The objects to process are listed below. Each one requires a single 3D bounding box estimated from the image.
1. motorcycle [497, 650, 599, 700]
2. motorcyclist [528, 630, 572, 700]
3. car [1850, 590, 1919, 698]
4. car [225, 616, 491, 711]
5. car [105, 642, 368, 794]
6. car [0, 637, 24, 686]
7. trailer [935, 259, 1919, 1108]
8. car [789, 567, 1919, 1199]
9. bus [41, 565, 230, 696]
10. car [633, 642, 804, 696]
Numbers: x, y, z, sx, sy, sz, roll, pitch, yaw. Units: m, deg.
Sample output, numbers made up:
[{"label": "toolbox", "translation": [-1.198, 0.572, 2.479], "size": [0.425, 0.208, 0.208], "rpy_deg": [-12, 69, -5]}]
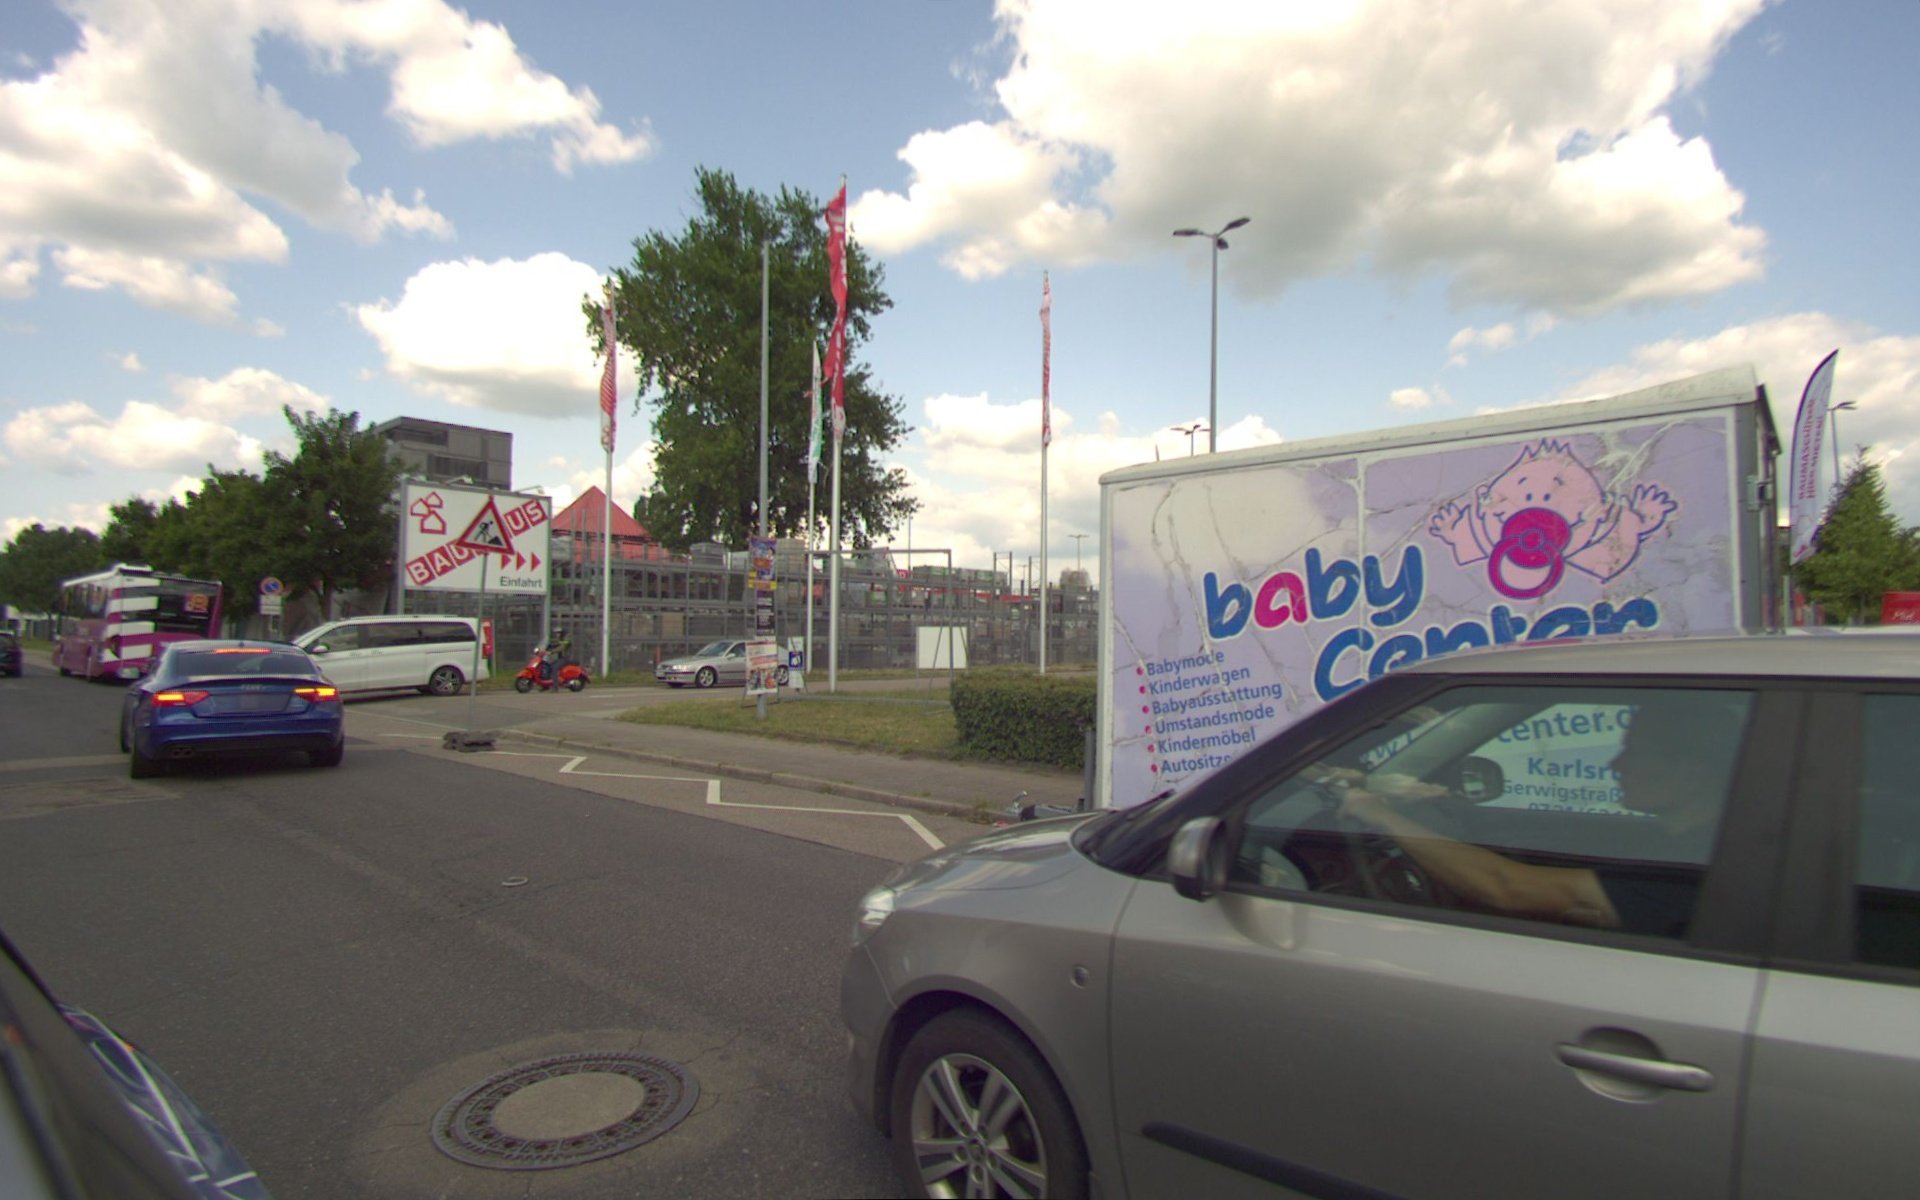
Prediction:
[{"label": "motorcycle", "translation": [-10.552, 1.909, 25.993], "size": [0.994, 1.223, 2.196], "rpy_deg": [-2, -4, 43]}, {"label": "motorcyclist", "translation": [-10.546, 1.657, 26.014], "size": [0.994, 1.736, 0.666], "rpy_deg": [-2, -4, 44]}, {"label": "car", "translation": [25.317, 1.110, 23.872], "size": [6.440, 2.613, 2.241], "rpy_deg": [0, -1, 44]}, {"label": "car", "translation": [-13.737, 1.417, 23.308], "size": [4.939, 1.964, 1.995], "rpy_deg": [2, -3, -42]}, {"label": "car", "translation": [-8.395, 1.184, 11.571], "size": [1.900, 1.387, 4.384], "rpy_deg": [2, -3, -42]}, {"label": "car", "translation": [-30.708, 1.888, 31.593], "size": [4.384, 1.470, 1.776], "rpy_deg": [-2, -5, 43]}, {"label": "trailer", "translation": [2.317, 0.377, 5.573], "size": [4.702, 2.804, 2.116], "rpy_deg": [-2, -5, 42]}, {"label": "car", "translation": [1.485, 0.747, 1.943], "size": [3.761, 1.476, 1.573], "rpy_deg": [-2, -5, 42]}, {"label": "bus", "translation": [-26.923, 1.069, 32.658], "size": [13.217, 3.449, 2.634], "rpy_deg": [-2, -7, 43]}, {"label": "car", "translation": [-7.104, 2.000, 30.092], "size": [1.955, 1.465, 4.631], "rpy_deg": [-2, -3, 44]}]
